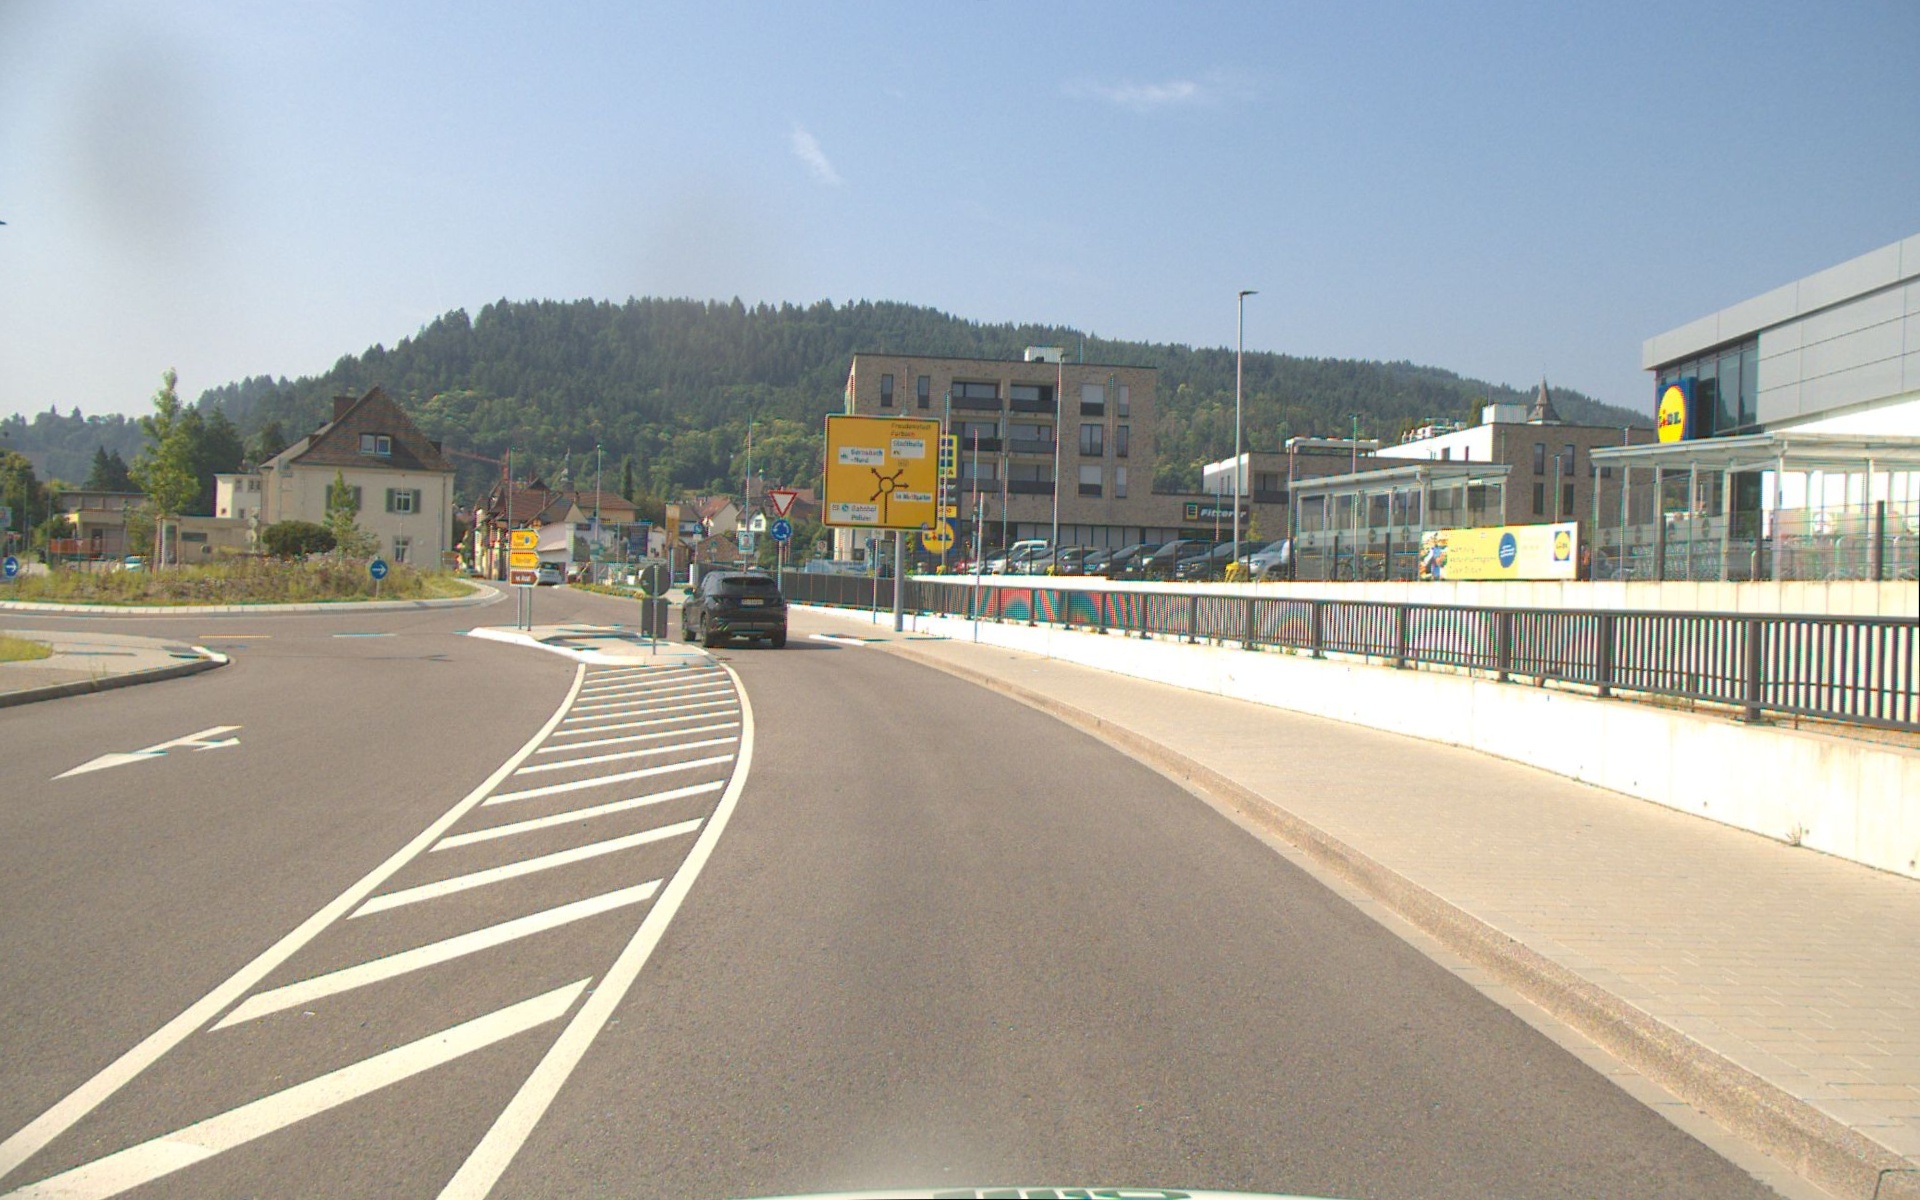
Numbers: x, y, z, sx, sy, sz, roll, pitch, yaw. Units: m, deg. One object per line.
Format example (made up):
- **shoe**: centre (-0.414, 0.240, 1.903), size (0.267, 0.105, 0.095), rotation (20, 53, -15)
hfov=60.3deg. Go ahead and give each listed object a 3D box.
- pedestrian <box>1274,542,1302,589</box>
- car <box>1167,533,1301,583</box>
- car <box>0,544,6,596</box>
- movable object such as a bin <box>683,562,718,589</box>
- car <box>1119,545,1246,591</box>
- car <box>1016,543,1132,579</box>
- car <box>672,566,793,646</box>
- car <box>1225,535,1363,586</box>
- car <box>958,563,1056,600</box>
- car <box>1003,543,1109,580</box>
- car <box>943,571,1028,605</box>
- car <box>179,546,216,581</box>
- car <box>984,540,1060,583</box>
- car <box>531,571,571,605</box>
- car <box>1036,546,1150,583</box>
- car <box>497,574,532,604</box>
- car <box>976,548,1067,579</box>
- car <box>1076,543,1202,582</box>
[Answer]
- **pedestrian**: centre (9.544, -1.006, 48.132), size (0.538, 1.335, 0.653), rotation (1, 0, -18)
- **car**: centre (8.730, -1.324, 52.675), size (4.002, 1.428, 1.477), rotation (1, 1, -21)
- **car**: centre (-37.558, -1.154, 60.944), size (1.801, 1.980, 4.884), rotation (1, 0, 3)
- **movable object such as a bin**: centre (-18.319, -1.747, 116.740), size (2.399, 1.876, 1.425), rotation (1, 0, -11)
- **car**: centre (7.561, -1.089, 56.229), size (3.946, 1.428, 1.715), rotation (1, 1, -20)
- **car**: centre (4.479, -1.534, 64.886), size (4.216, 1.267, 1.655), rotation (1, 1, -21)
- **car**: centre (-5.272, 0.129, 37.912), size (1.855, 1.713, 3.974), rotation (1, 0, -22)
- **car**: centre (10.007, -1.185, 49.578), size (3.749, 1.388, 1.671), rotation (1, 1, -20)
- **car**: centre (2.076, -0.801, 73.037), size (3.992, 1.513, 1.708), rotation (1, 1, -18)
- **car**: centre (3.870, -1.539, 66.822), size (3.976, 1.366, 1.651), rotation (1, 1, -20)
- **car**: centre (1.176, -0.540, 75.616), size (3.503, 1.455, 1.701), rotation (1, 1, -20)
- **car**: centre (-45.586, -2.198, 98.948), size (1.784, 2.048, 3.974), rotation (1, 1, -22)
- **car**: centre (3.230, -1.987, 86.144), size (3.904, 2.173, 2.000), rotation (1, 0, 1)
- **car**: centre (-25.679, -0.750, 104.045), size (1.956, 2.049, 3.994), rotation (1, 0, -7)
- **car**: centre (4.992, -1.347, 62.244), size (3.908, 1.267, 1.720), rotation (1, 1, -20)
- **car**: centre (-31.966, -0.795, 118.603), size (1.966, 2.049, 3.972), rotation (1, 0, -23)
- **car**: centre (2.595, -1.558, 70.237), size (3.503, 1.220, 1.705), rotation (1, 1, -20)
- **car**: centre (6.435, -1.355, 59.456), size (4.151, 1.267, 1.734), rotation (1, 1, -20)
